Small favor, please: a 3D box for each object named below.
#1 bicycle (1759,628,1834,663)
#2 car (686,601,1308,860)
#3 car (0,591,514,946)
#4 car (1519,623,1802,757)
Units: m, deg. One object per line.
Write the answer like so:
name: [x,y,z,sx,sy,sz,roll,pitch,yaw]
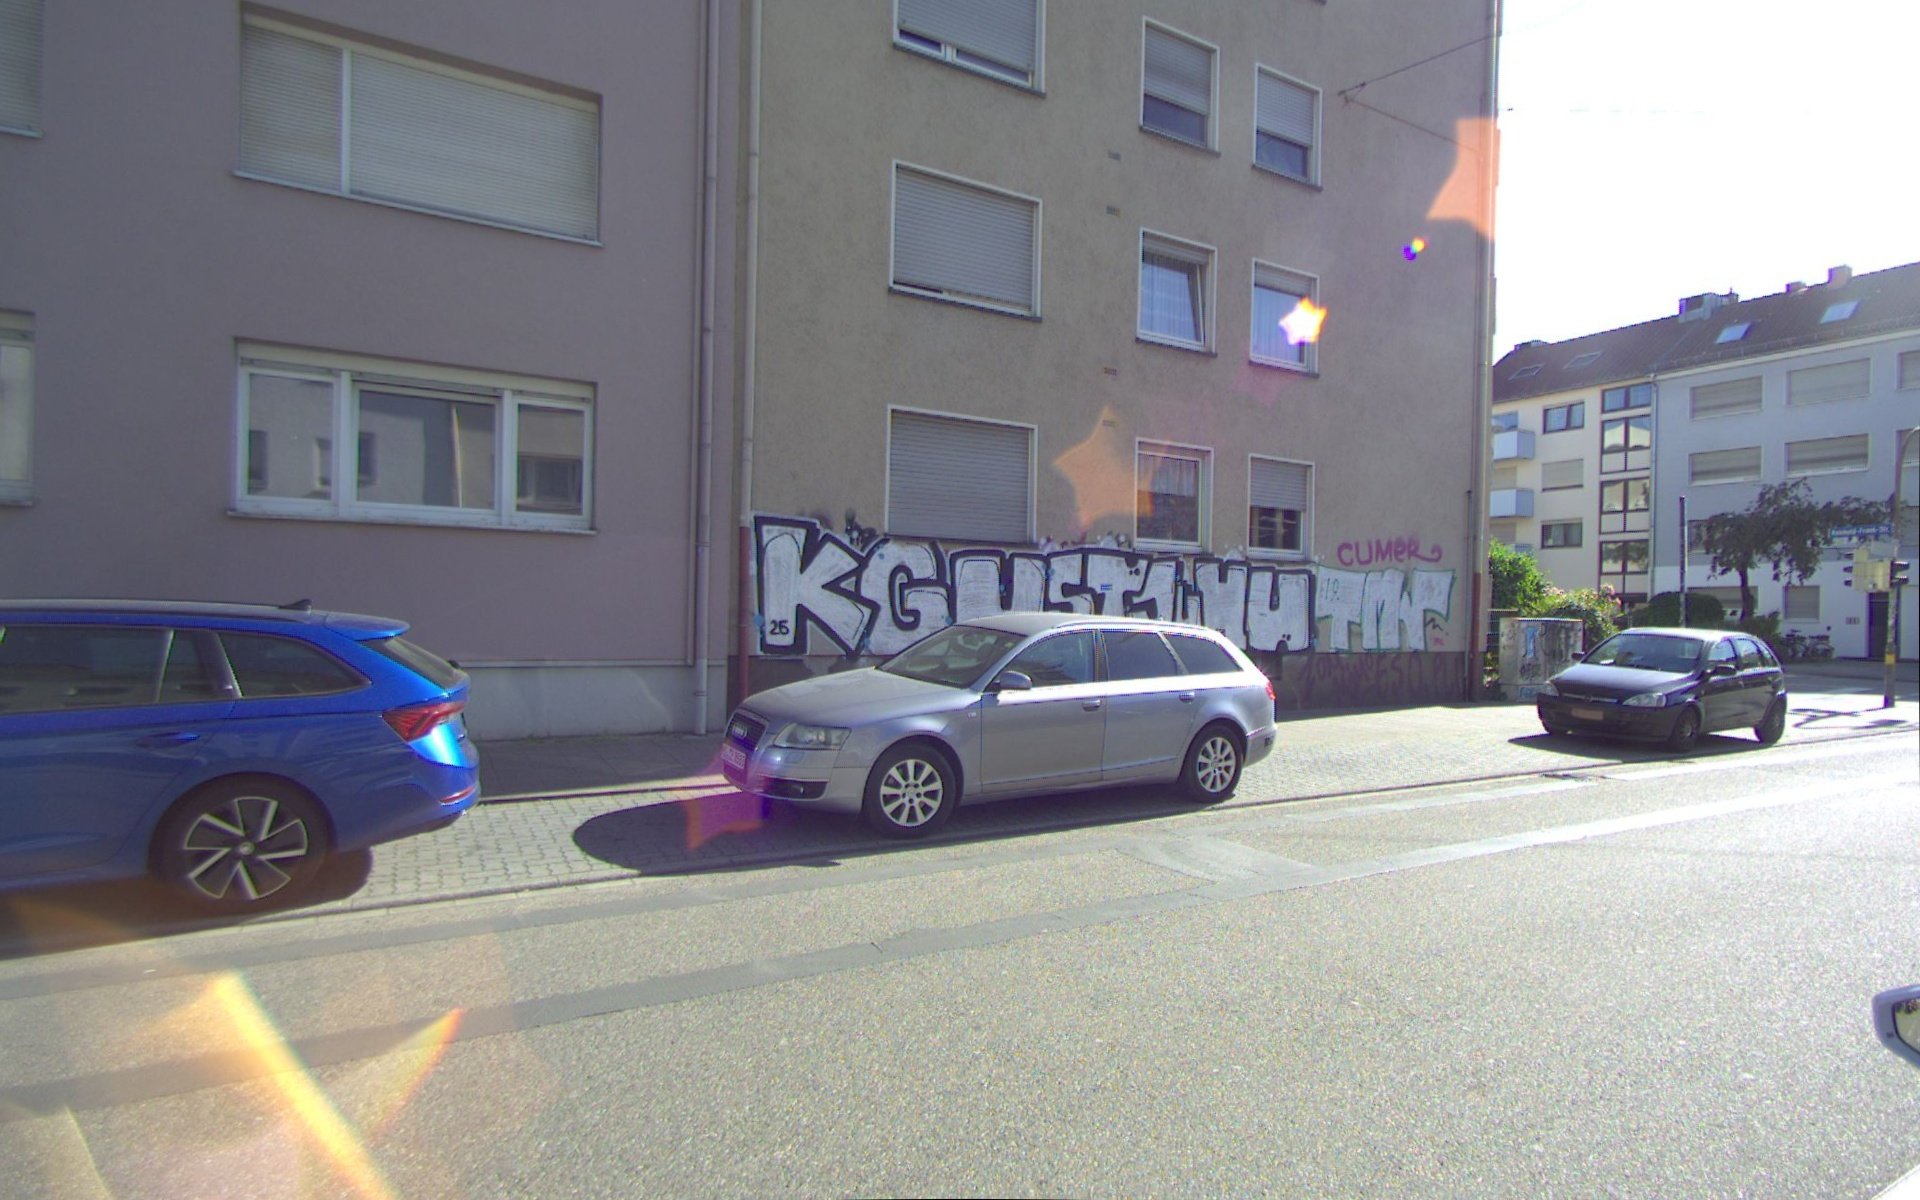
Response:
bicycle: [30.342,1.637,36.478,2.068,1.188,0.738,0,-1,38]
car: [0.436,0.837,7.993,4.759,1.485,1.708,1,2,-31]
car: [-4.779,0.724,4.942,4.559,1.485,1.709,1,1,-31]
car: [9.154,1.083,13.079,3.667,1.444,1.608,1,1,-31]
